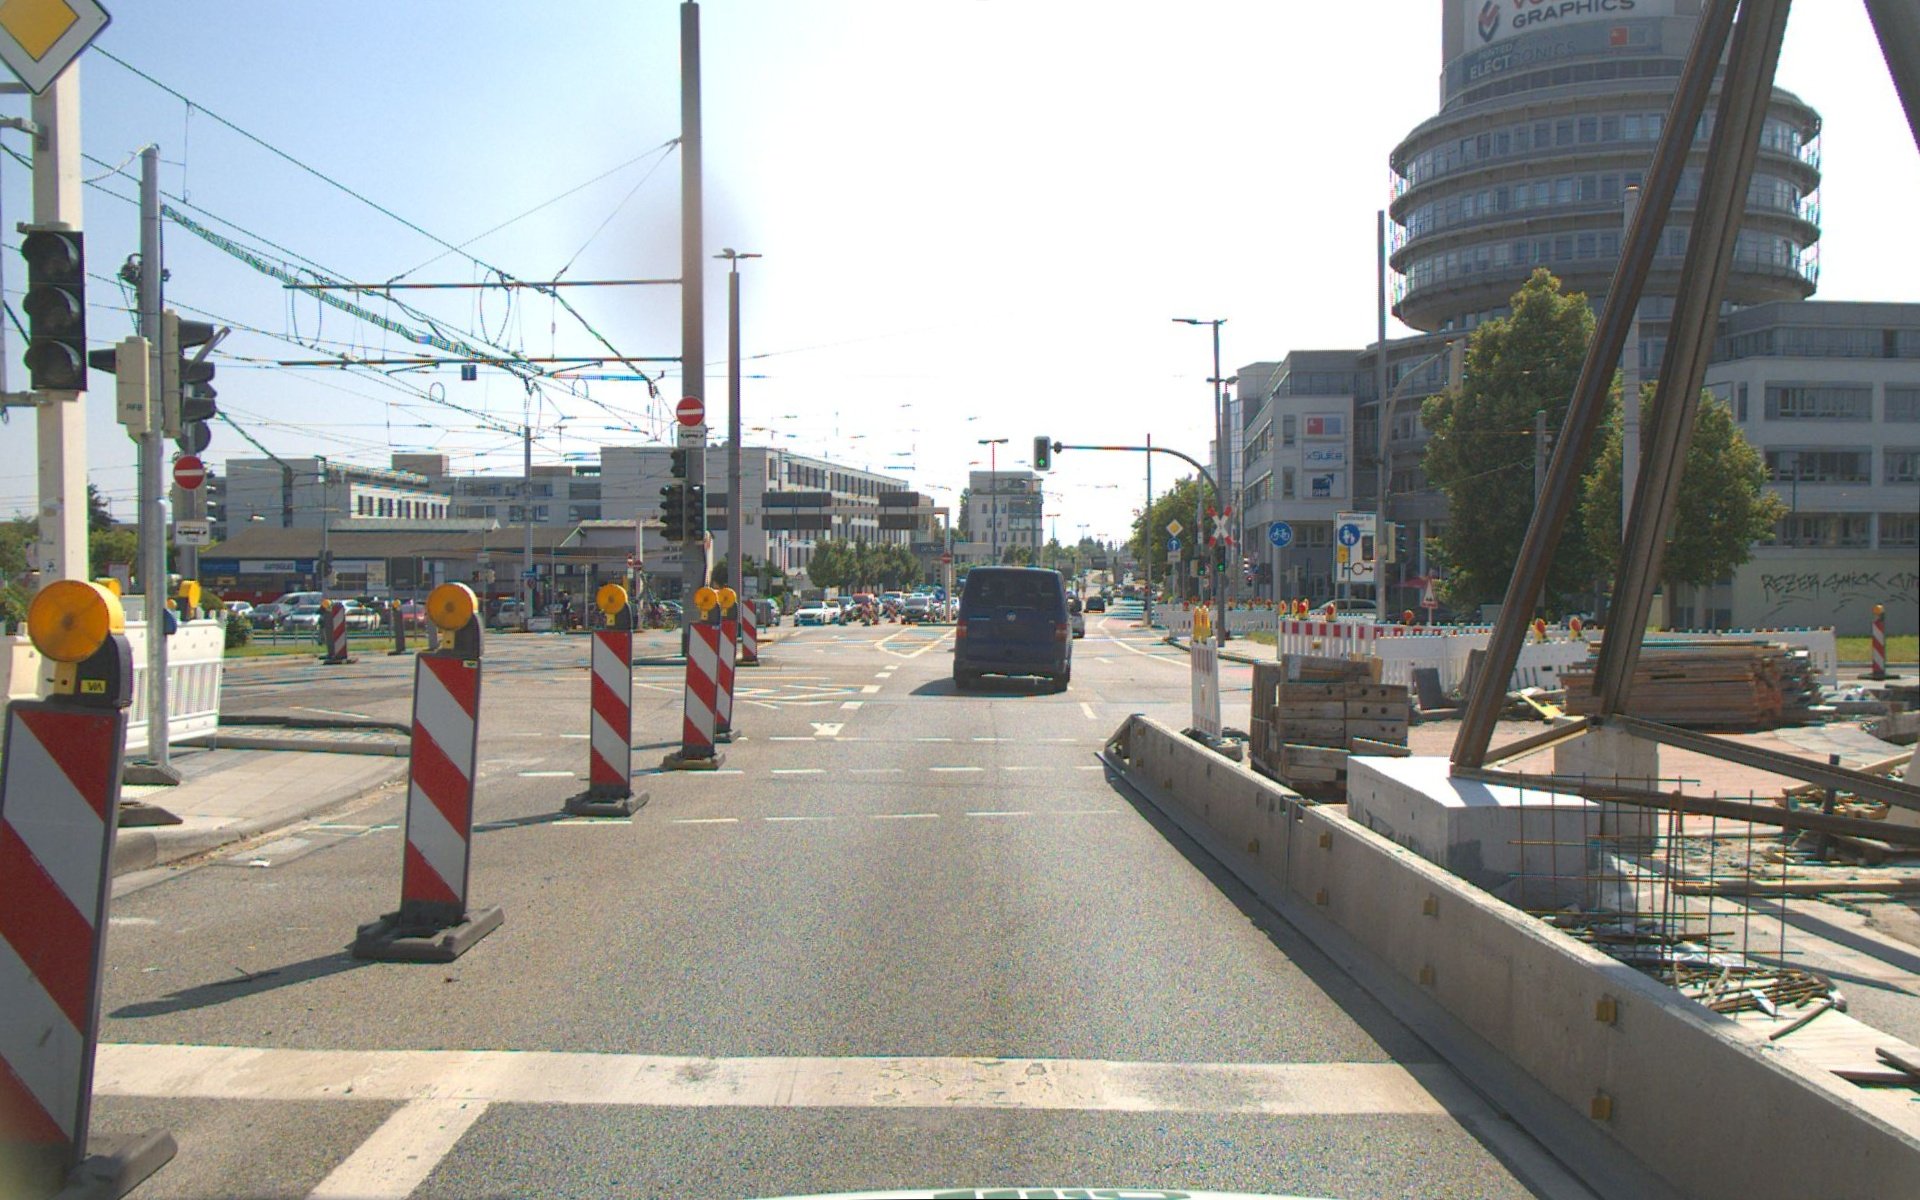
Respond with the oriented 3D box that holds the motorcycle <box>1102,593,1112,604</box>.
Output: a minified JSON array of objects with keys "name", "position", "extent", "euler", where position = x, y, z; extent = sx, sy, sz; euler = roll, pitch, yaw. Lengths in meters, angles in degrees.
[{"name":"motorcycle","position":[17.365,-0.159,195.353],"extent":[1.137,1.264,3.010],"euler":[0,0,6]}]

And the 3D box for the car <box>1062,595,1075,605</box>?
[{"name":"car","position":[15.669,0.013,239.368],"extent":[1.517,1.363,3.014],"euler":[1,0,-3]}]

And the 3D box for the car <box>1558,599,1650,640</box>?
[{"name":"car","position":[31.085,0.928,79.872],"extent":[3.736,1.829,1.681],"euler":[1,1,-2]}]

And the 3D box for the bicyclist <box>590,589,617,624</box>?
[{"name":"bicyclist","position":[-17.231,0.311,80.008],"extent":[0.857,1.606,0.970],"euler":[4,0,13]}]

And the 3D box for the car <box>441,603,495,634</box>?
[{"name":"car","position":[-26.884,0.973,90.402],"extent":[1.741,1.565,4.000],"euler":[-2,0,-1]}]

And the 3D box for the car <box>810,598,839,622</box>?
[{"name":"car","position":[-8.603,0.622,105.324],"extent":[1.712,1.512,3.998],"euler":[0,1,-3]}]

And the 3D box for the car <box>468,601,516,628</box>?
[{"name":"car","position":[-28.080,0.853,99.276],"extent":[1.741,1.565,3.999],"euler":[1,0,-1]}]

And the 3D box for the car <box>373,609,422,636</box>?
[{"name":"car","position":[-35.417,1.388,104.240],"extent":[1.741,1.565,4.000],"euler":[-2,0,-1]}]

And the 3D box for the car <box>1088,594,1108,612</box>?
[{"name":"car","position":[12.186,0.264,146.379],"extent":[1.707,1.501,3.887],"euler":[0,0,5]}]

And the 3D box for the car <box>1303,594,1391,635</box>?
[{"name":"car","position":[18.455,0.670,78.990],"extent":[3.736,1.829,1.681],"euler":[1,1,-2]}]

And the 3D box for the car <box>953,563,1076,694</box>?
[{"name":"car","position":[0.963,0.395,27.694],"extent":[1.848,1.967,4.002],"euler":[2,1,3]}]

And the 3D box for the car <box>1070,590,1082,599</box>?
[{"name":"car","position":[18.068,-0.927,257.977],"extent":[1.517,1.363,3.014],"euler":[1,0,-3]}]

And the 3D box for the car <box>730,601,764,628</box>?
[{"name":"car","position":[-12.745,0.839,99.028],"extent":[1.712,1.512,3.998],"euler":[0,1,-3]}]

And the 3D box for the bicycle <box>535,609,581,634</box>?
[{"name":"bicycle","position":[-18.816,1.005,77.558],"extent":[0.863,1.088,2.809],"euler":[4,0,13]}]

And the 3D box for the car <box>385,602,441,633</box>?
[{"name":"car","position":[-29.942,0.925,90.591],"extent":[1.741,1.565,4.000],"euler":[-2,0,-1]}]

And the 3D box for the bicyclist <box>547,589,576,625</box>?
[{"name":"bicyclist","position":[-18.727,0.341,77.779],"extent":[0.857,1.606,0.970],"euler":[4,0,13]}]

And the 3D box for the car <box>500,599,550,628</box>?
[{"name":"car","position":[-24.093,0.738,91.766],"extent":[1.741,1.565,4.000],"euler":[1,0,-1]}]

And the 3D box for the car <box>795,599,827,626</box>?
[{"name":"car","position":[-8.875,0.722,98.922],"extent":[1.712,1.507,3.998],"euler":[0,1,-3]}]

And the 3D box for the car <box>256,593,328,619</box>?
[{"name":"car","position":[-43.381,0.377,107.398],"extent":[3.969,1.565,1.755],"euler":[-2,0,-44]}]

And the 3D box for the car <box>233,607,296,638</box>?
[{"name":"car","position":[-38.029,1.191,90.512],"extent":[1.741,1.565,4.000],"euler":[-2,0,-1]}]

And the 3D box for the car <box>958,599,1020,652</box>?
[{"name":"car","position":[0.854,0.751,50.951],"extent":[1.790,1.512,3.901],"euler":[2,0,-1]}]

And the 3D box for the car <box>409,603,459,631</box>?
[{"name":"car","position":[-31.469,1.014,99.106],"extent":[1.741,1.565,3.999],"euler":[1,0,-1]}]

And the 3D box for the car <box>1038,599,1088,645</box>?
[{"name":"car","position":[4.025,0.825,65.107],"extent":[1.650,1.634,3.616],"euler":[2,1,-1]}]

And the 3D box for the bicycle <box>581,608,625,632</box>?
[{"name":"bicycle","position":[-17.267,0.979,80.053],"extent":[0.863,1.088,2.809],"euler":[4,0,13]}]

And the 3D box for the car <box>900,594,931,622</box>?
[{"name":"car","position":[-2.641,0.430,96.738],"extent":[1.712,1.556,3.998],"euler":[0,1,-3]}]

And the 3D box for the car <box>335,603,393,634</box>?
[{"name":"car","position":[-32.836,1.016,91.181],"extent":[1.741,1.565,4.000],"euler":[-2,0,-1]}]

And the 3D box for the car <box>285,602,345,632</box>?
[{"name":"car","position":[-35.396,0.920,90.847],"extent":[1.741,1.565,4.000],"euler":[-2,0,-1]}]
